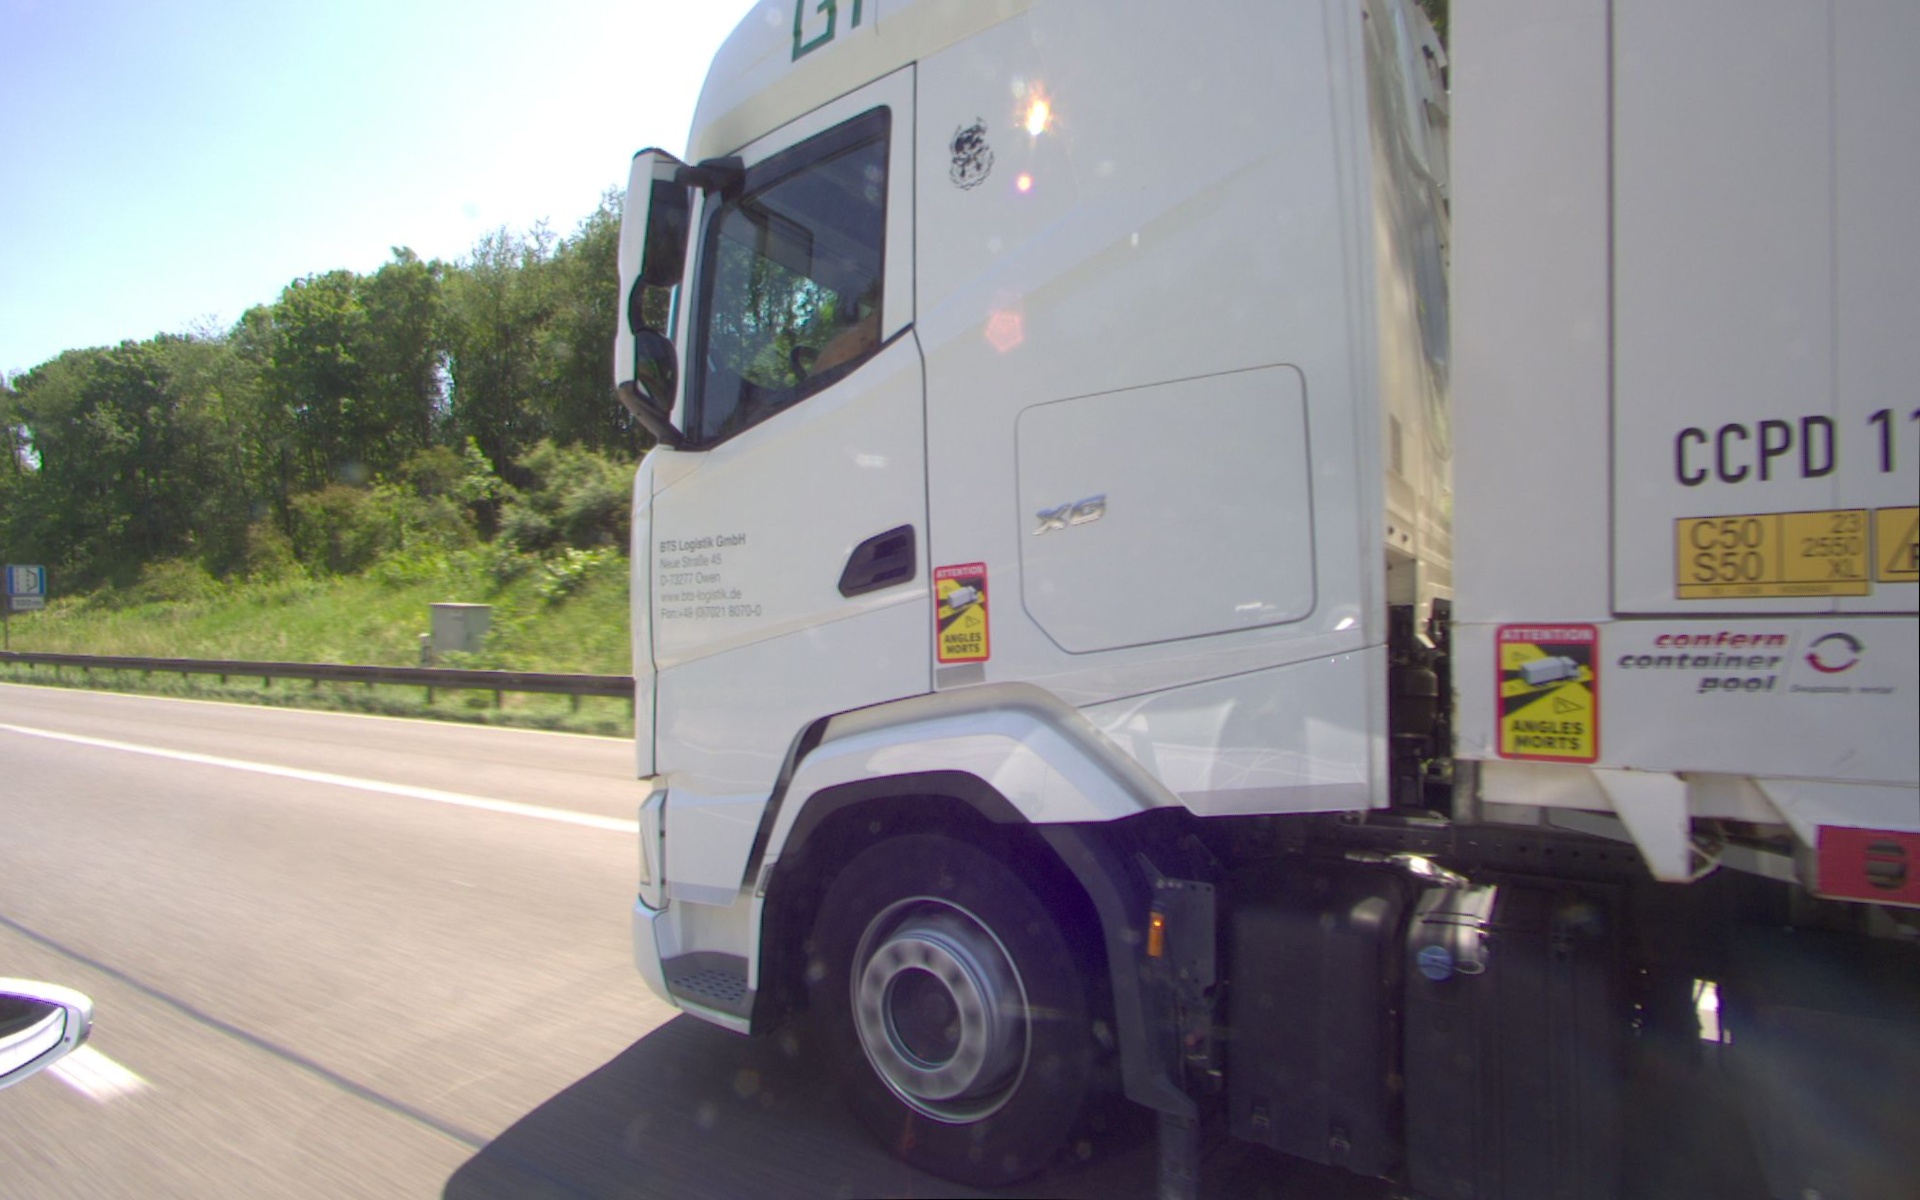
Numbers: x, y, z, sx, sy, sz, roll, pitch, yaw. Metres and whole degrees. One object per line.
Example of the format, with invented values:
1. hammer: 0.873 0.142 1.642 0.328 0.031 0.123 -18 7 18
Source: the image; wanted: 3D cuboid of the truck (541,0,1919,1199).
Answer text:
1. truck: 3.804 -0.653 1.629 10.470 4.113 2.675 1 0 32
